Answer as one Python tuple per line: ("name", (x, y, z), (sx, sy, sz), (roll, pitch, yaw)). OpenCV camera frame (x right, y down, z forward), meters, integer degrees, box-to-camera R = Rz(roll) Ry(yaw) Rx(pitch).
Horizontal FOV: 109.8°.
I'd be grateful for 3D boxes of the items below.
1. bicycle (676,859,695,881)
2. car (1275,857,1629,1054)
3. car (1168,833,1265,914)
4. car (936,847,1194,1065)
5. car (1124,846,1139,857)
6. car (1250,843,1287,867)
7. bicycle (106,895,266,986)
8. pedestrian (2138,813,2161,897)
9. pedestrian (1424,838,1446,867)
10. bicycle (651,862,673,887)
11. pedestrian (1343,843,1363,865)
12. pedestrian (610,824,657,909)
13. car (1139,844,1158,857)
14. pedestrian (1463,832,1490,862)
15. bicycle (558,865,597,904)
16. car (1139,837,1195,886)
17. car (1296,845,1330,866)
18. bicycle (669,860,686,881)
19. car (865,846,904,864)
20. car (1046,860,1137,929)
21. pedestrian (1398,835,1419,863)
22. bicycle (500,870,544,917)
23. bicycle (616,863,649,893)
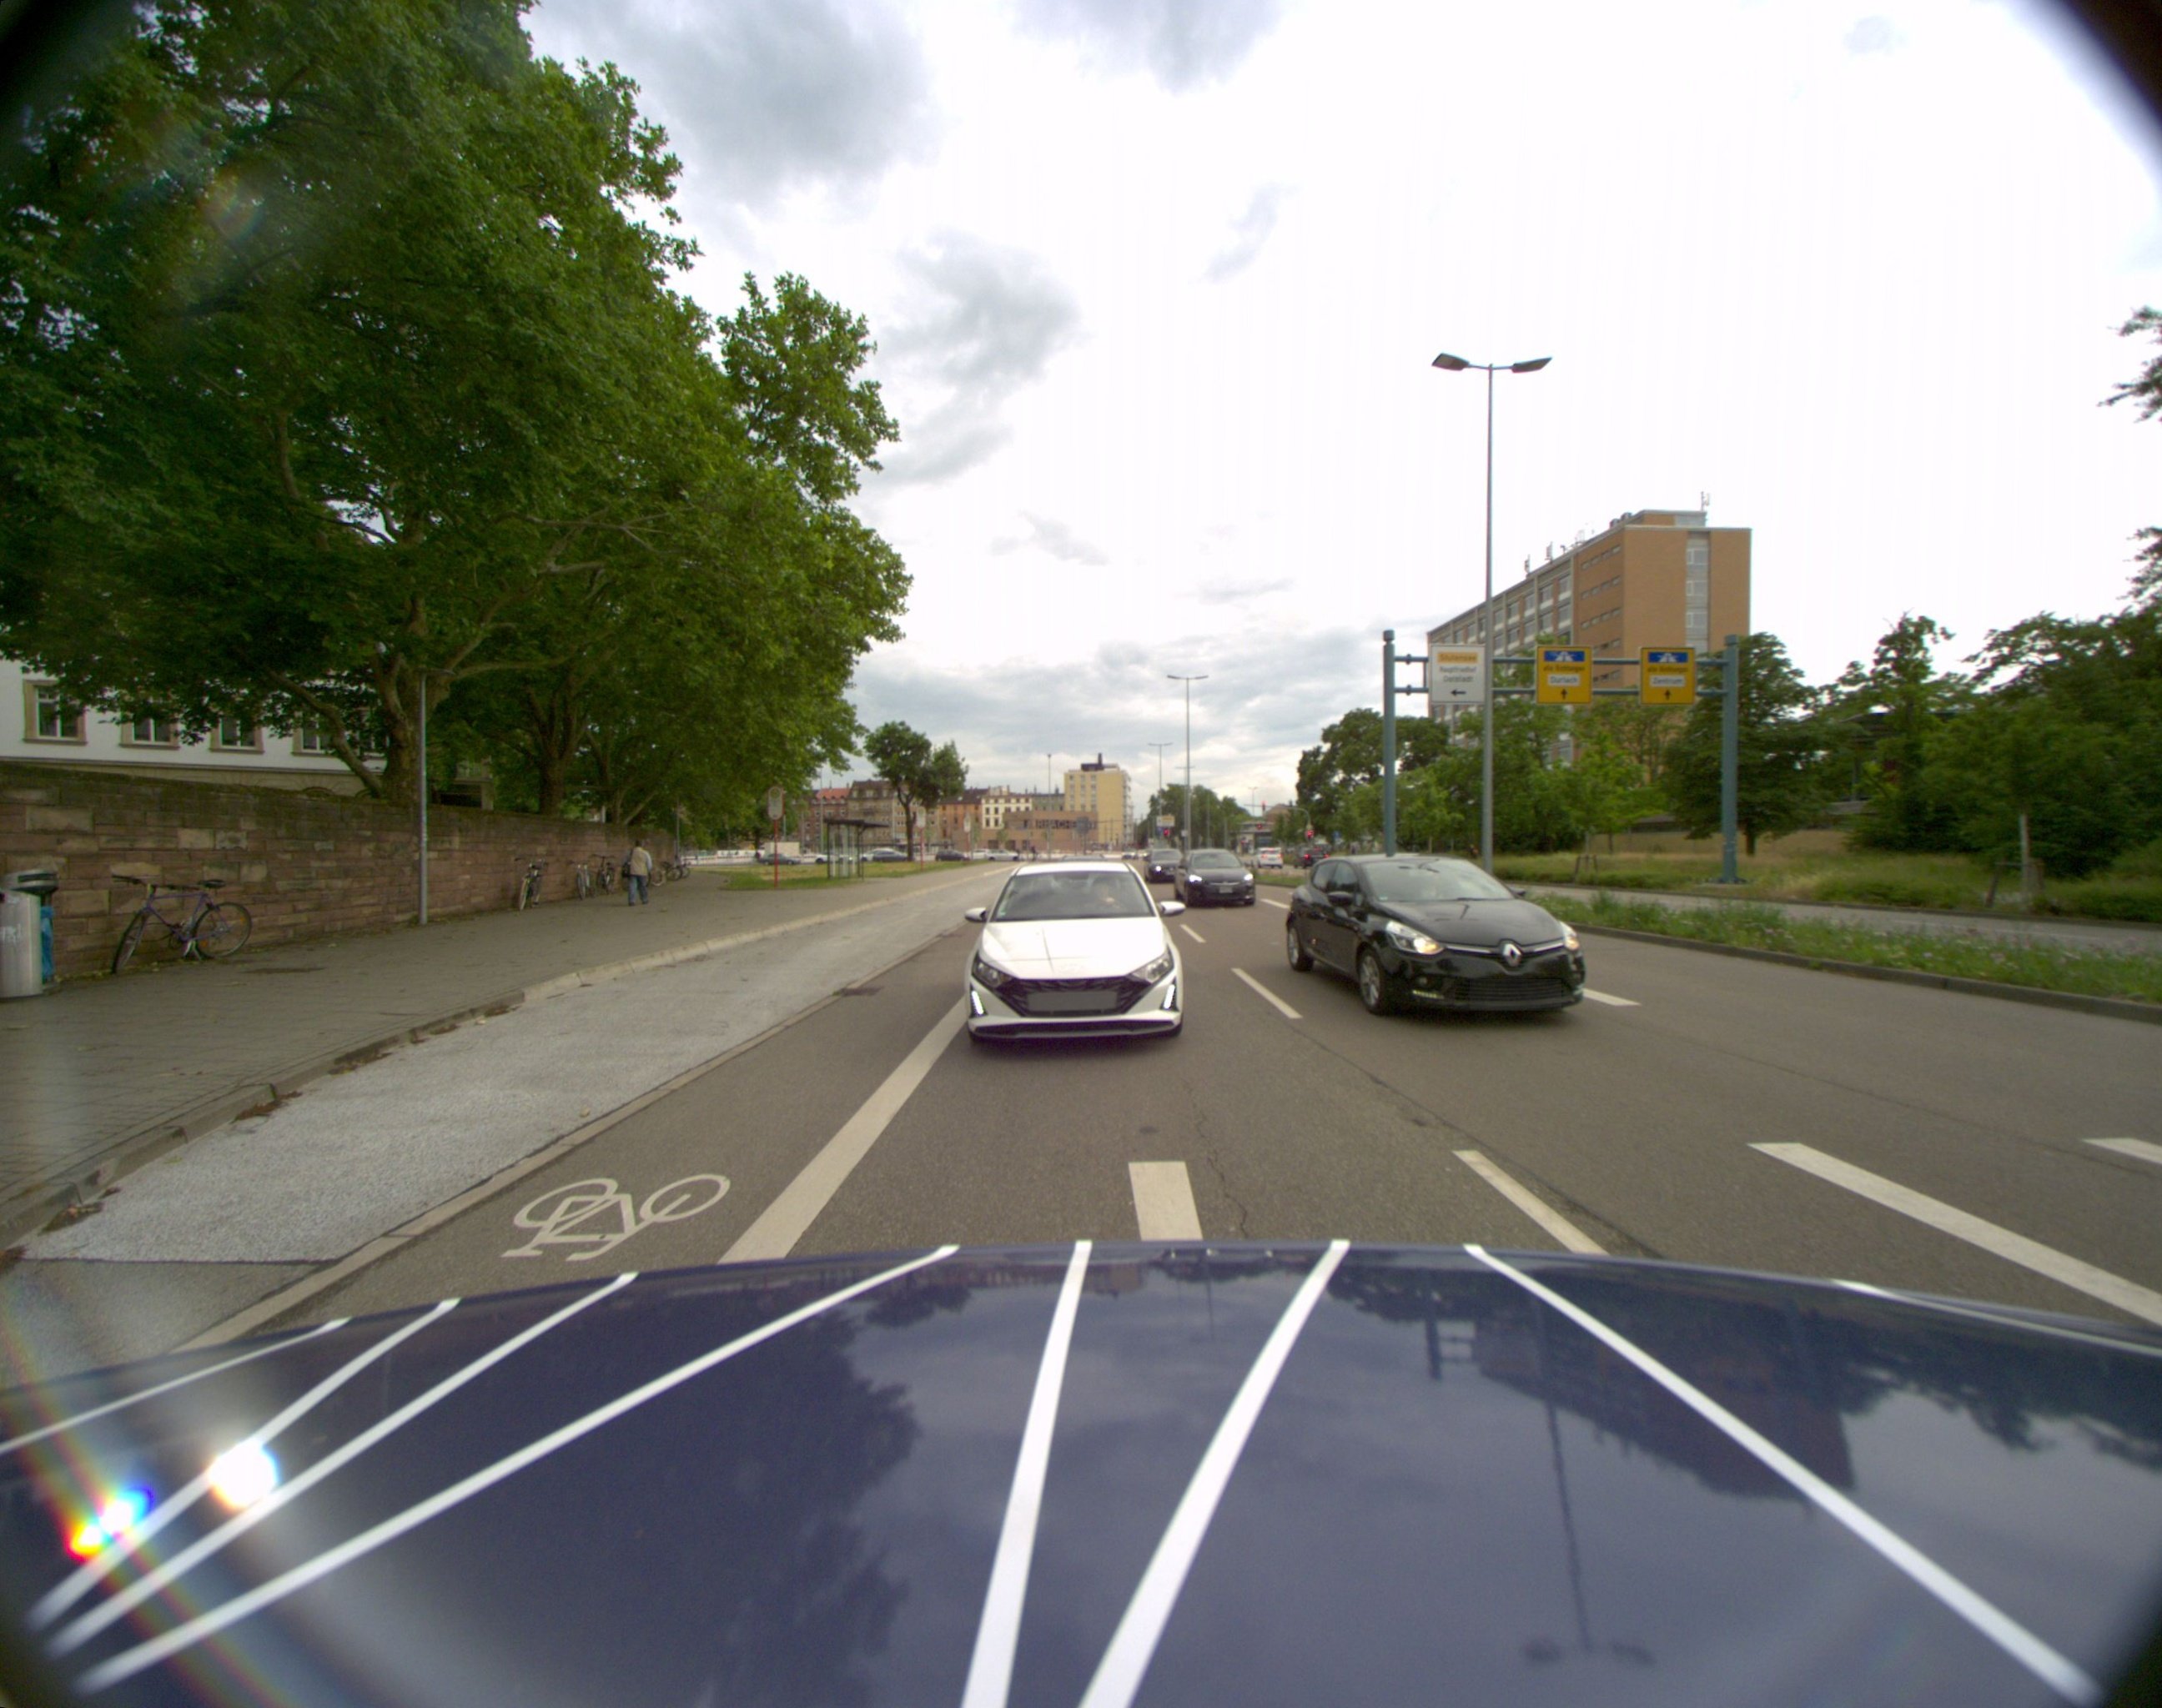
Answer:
("bicycle", (-20.625, 0.834, 39.618), (0.693, 1.078, 1.650), (-1, 1, -22))
("car", (3.356, 0.792, 7.833), (1.732, 1.450, 3.999), (0, 1, 1))
("car", (3.603, 0.455, 20.883), (1.998, 2.002, 3.999), (0, 1, 1))
("car", (-0.086, 0.708, 7.371), (1.813, 1.533, 3.999), (0, 1, 1))
("car", (6.412, -0.383, 96.991), (1.606, 1.360, 3.578), (0, 1, -1))
("car", (14.812, 0.071, 60.233), (1.893, 1.763, 3.999), (-2, 1, 1))
("bicycle", (-10.599, 0.986, 9.070), (0.291, 0.880, 1.609), (0, 1, -12))
("pedestrian", (21.391, 0.011, 14.625), (0.990, 1.616, 0.813), (-2, 1, -2))
("pedestrian", (25.230, -0.122, 54.176), (0.882, 2.002, 1.220), (-2, 1, -7))
("bicycle", (-16.897, 0.813, 30.658), (0.569, 0.934, 1.764), (-1, 1, -22))
("pedestrian", (25.158, 0.003, 70.333), (1.223, 2.002, 1.520), (-2, 1, 0))
("pedestrian", (-10.876, 0.288, 18.505), (0.784, 2.002, 0.887), (1, 2, -17))
("car", (8.333, -0.444, 93.898), (1.999, 1.536, 3.999), (0, 1, -1))
("pedestrian", (25.549, -0.460, 49.104), (1.137, 1.908, 1.162), (-2, 1, 4))
("bicycle", (-13.561, 0.802, 20.516), (0.482, 0.934, 1.895), (-1, 1, -21))
("car", (3.654, 0.294, 32.930), (1.998, 2.002, 3.999), (0, 1, 1))
("car", (18.053, 0.100, 59.259), (1.854, 1.543, 4.002), (-1, 1, 7))
("bicycle", (-18.996, 0.775, 35.803), (0.561, 0.934, 1.351), (-1, 1, -22))
("car", (-23.955, 0.098, 92.653), (4.284, 2.002, 1.999), (-2, 1, -5))
("car", (0.263, 0.907, 18.653), (1.998, 1.422, 3.999), (0, 1, 1))
("pedestrian", (23.785, -0.377, 55.157), (0.882, 2.002, 1.220), (-2, 1, -7))
("bicycle", (-12.414, 0.856, 16.915), (0.365, 0.934, 1.637), (-1, 1, -21))
("bicycle", (-15.181, 0.792, 25.764), (0.655, 0.934, 1.953), (-1, 1, -22))
